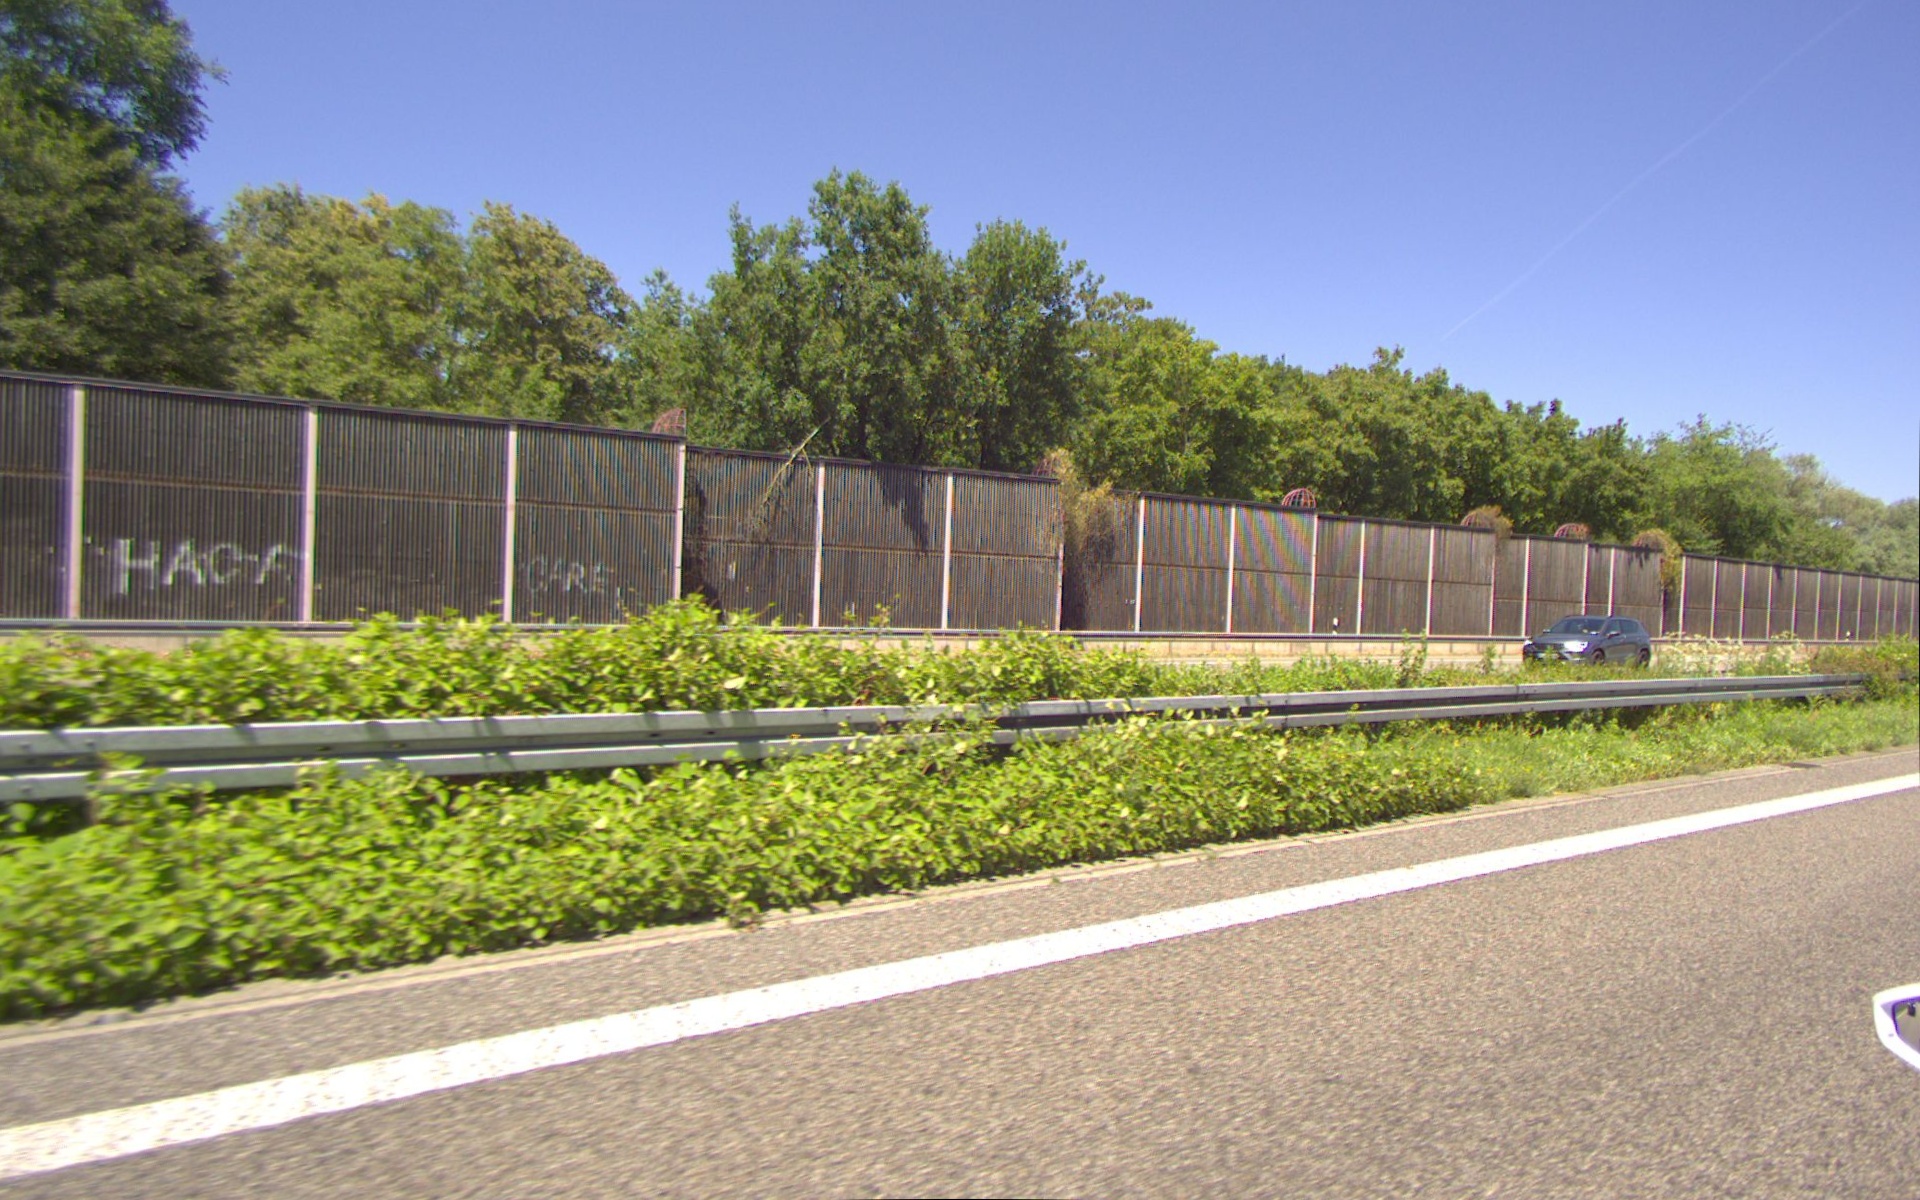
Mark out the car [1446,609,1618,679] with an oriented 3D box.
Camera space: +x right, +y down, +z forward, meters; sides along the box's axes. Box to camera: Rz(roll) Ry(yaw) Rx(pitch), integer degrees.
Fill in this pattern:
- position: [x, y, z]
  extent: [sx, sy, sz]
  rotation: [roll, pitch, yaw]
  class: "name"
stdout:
- position: [15.101, 1.122, 26.456]
  extent: [4.641, 1.669, 1.982]
  rotation: [2, 0, -33]
  class: "car"
